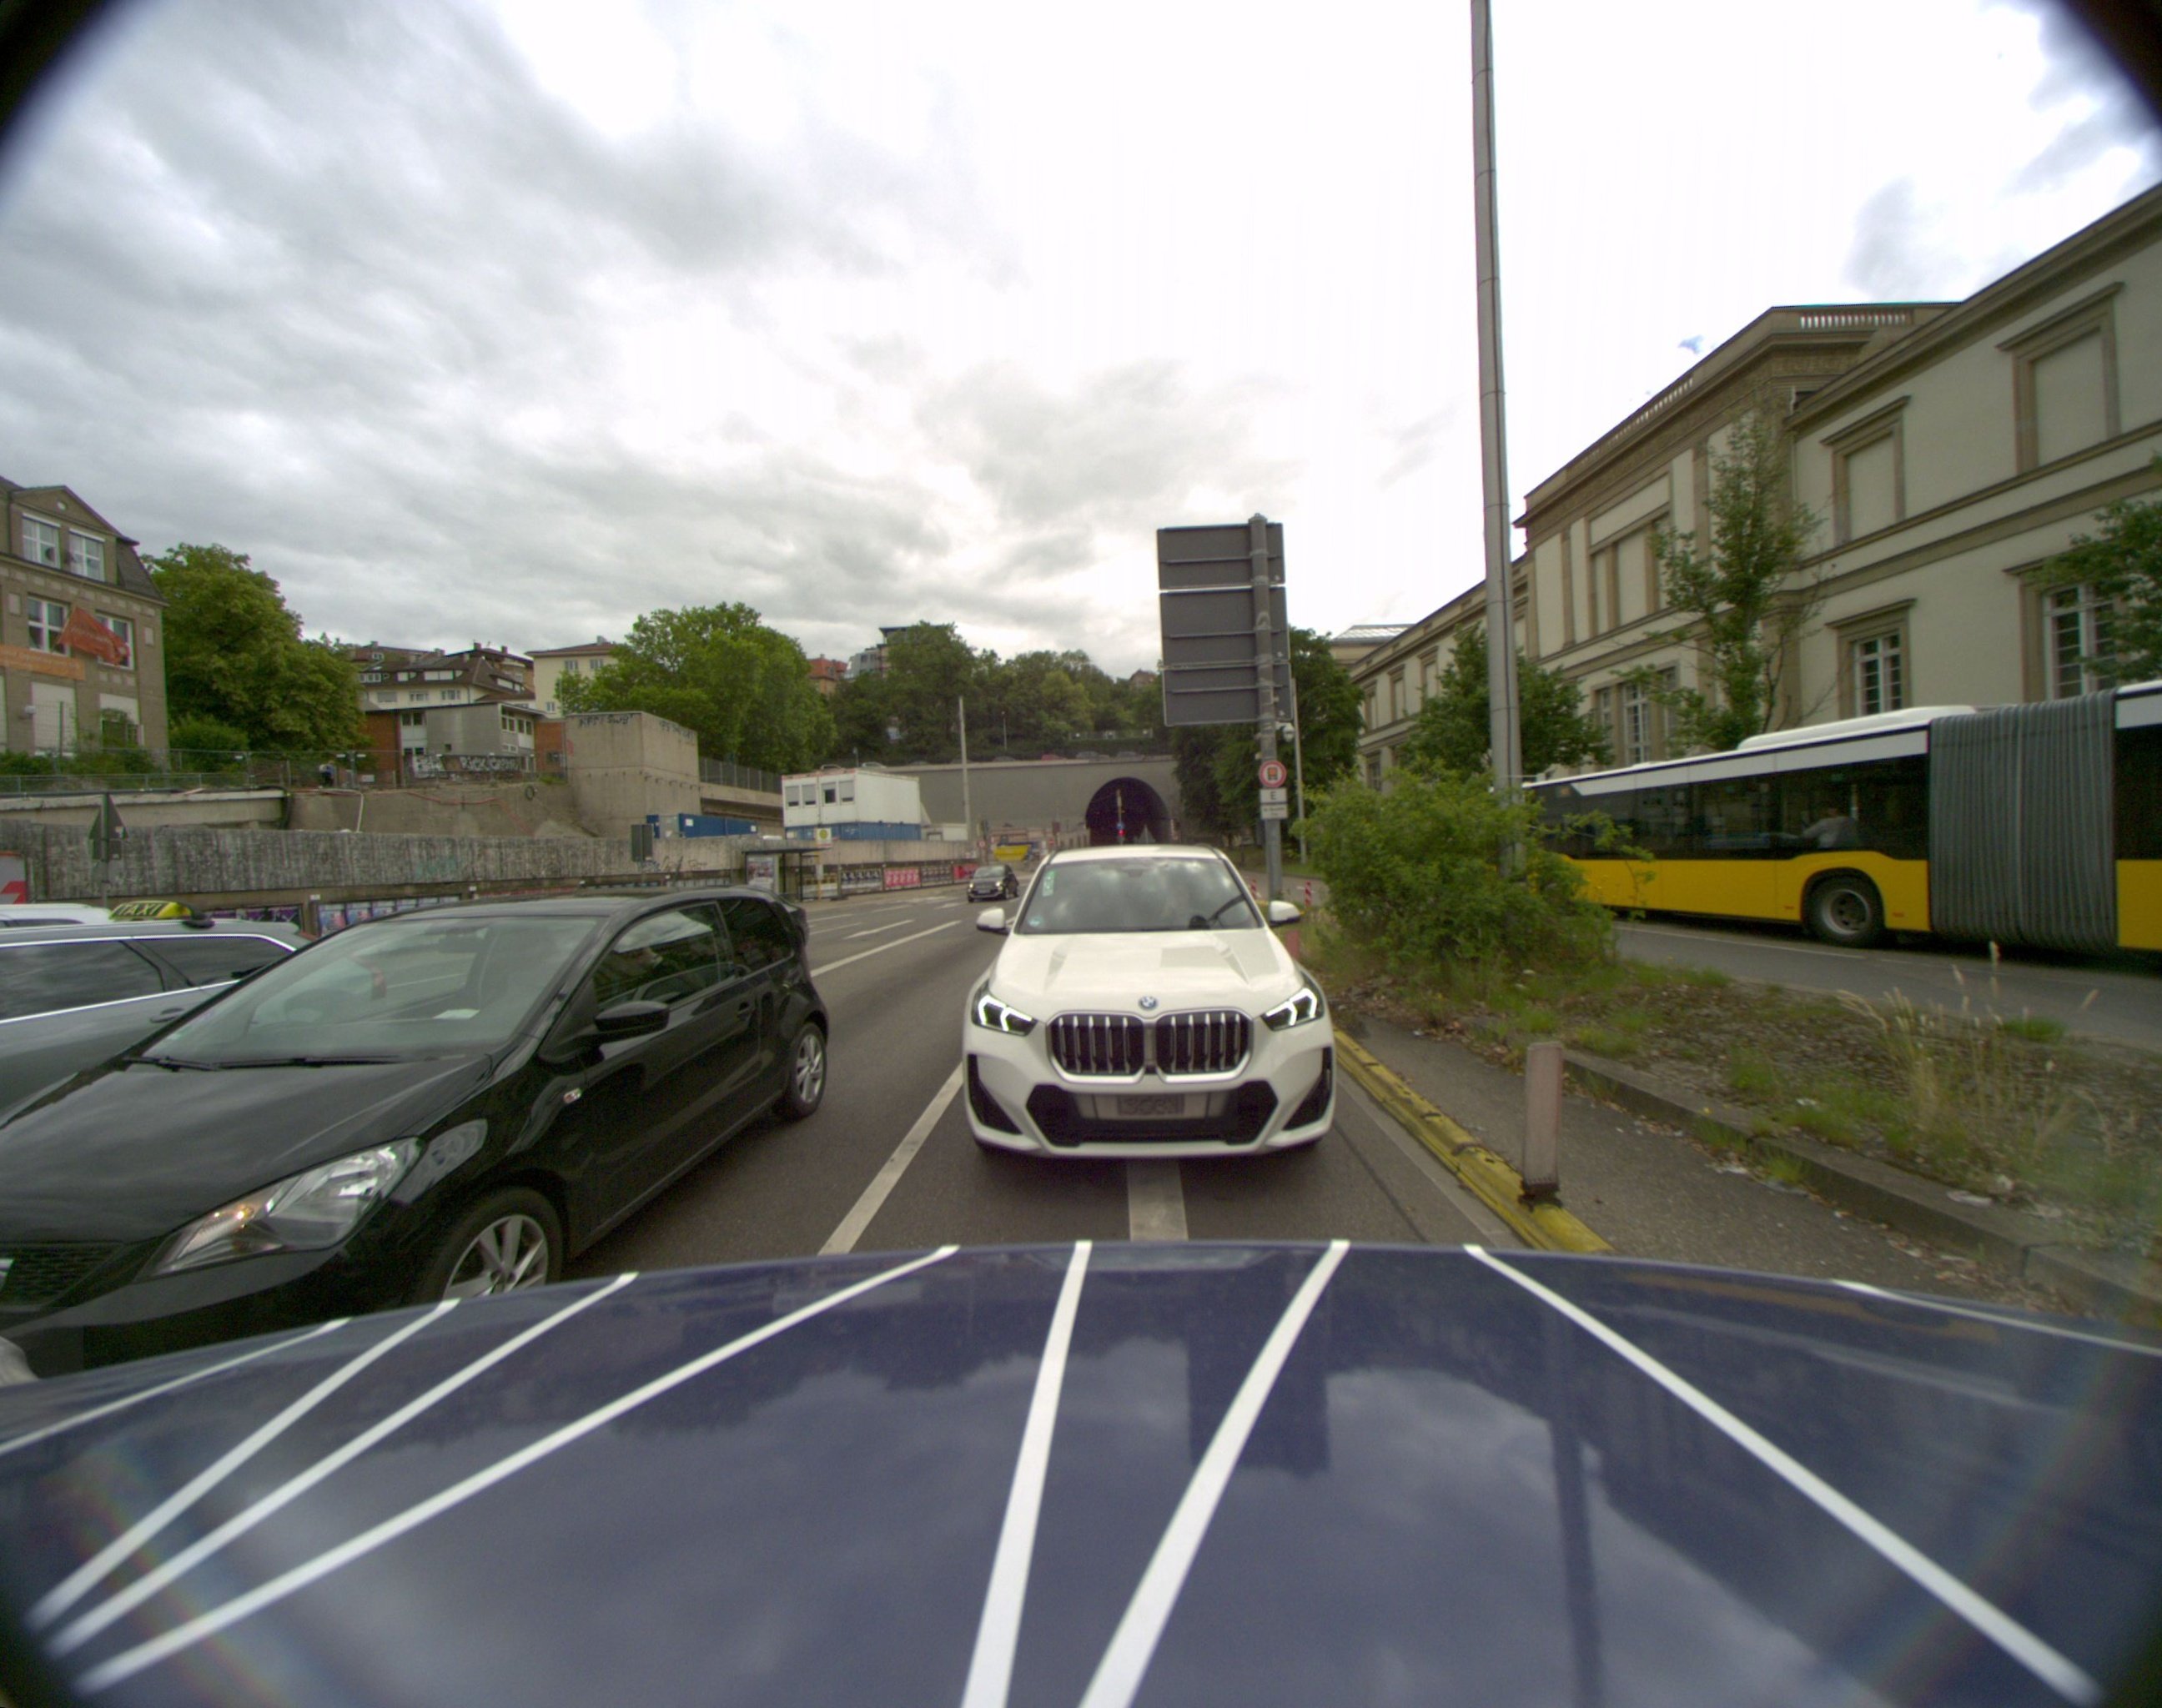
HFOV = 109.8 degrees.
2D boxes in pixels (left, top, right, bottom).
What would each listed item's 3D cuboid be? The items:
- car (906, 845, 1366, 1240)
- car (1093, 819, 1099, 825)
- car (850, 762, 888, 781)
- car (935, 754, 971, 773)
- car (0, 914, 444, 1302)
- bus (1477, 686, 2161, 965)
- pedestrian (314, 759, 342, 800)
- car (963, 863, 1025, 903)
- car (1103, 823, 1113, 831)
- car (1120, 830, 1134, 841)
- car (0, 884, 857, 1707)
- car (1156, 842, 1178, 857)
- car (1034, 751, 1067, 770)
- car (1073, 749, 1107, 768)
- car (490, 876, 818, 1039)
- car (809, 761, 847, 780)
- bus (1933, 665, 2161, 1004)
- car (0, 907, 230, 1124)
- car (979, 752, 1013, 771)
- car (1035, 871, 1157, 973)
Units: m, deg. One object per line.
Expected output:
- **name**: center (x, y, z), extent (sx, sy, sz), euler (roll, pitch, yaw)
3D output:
- **car**: center (0.291, 0.794, 5.126), extent (1.848, 1.581, 3.882), euler (-3, 0, 2)
- **car**: center (4.245, -9.272, 218.228), extent (1.667, 1.582, 3.882), euler (-1, 0, 2)
- **car**: center (-26.022, -10.079, 93.376), extent (3.998, 2.002, 1.999), euler (-2, 1, -5)
- **car**: center (-15.811, -11.211, 93.900), extent (3.998, 2.002, 1.999), euler (-2, 1, -2)
- **car**: center (-5.839, 1.290, 3.399), extent (1.826, 1.562, 4.654), euler (-3, 0, 3)
- **bus**: center (11.225, -0.339, 13.626), extent (2.853, 3.096, 9.747), euler (-3, 0, -1)
- **pedestrian**: center (-38.229, -3.791, 38.580), extent (0.646, 2.002, 0.666), euler (-2, 1, -3)
- **car**: center (-3.583, 1.161, 31.995), extent (1.730, 1.435, 4.001), euler (-3, 0, 5)
- **car**: center (5.603, -5.758, 160.129), extent (1.711, 1.505, 4.287), euler (0, 0, -3)
- **car**: center (6.816, -2.720, 112.192), extent (1.701, 1.580, 3.882), euler (-3, 0, -1)
- **car**: center (-2.509, 0.998, 3.416), extent (1.667, 1.487, 3.882), euler (-3, 0, 2)
- **car**: center (8.866, -0.456, 78.626), extent (1.705, 1.463, 4.629), euler (-3, 0, -1)
- **car**: center (-3.785, -11.655, 94.407), extent (3.998, 2.002, 1.999), euler (-2, 1, -2)
- **car**: center (1.093, -11.834, 94.491), extent (3.998, 2.002, 1.999), euler (-2, 1, -2)
- **car**: center (-5.457, 1.202, 10.576), extent (1.704, 1.550, 4.551), euler (-3, 0, 4)
- **car**: center (-31.072, -10.266, 93.312), extent (3.998, 2.002, 1.999), euler (-2, 1, -5)
- **bus**: center (11.332, -0.229, 4.192), extent (2.853, 3.096, 9.120), euler (-3, 0, -1)
- **car**: center (-9.176, 1.339, 5.079), extent (1.704, 1.550, 4.551), euler (-3, 0, 1)
- **car**: center (-10.492, -11.406, 94.011), extent (3.998, 2.002, 1.999), euler (-2, 1, -2)
- **car**: center (0.249, 1.041, 13.081), extent (1.728, 1.310, 4.000), euler (-3, 0, 1)
